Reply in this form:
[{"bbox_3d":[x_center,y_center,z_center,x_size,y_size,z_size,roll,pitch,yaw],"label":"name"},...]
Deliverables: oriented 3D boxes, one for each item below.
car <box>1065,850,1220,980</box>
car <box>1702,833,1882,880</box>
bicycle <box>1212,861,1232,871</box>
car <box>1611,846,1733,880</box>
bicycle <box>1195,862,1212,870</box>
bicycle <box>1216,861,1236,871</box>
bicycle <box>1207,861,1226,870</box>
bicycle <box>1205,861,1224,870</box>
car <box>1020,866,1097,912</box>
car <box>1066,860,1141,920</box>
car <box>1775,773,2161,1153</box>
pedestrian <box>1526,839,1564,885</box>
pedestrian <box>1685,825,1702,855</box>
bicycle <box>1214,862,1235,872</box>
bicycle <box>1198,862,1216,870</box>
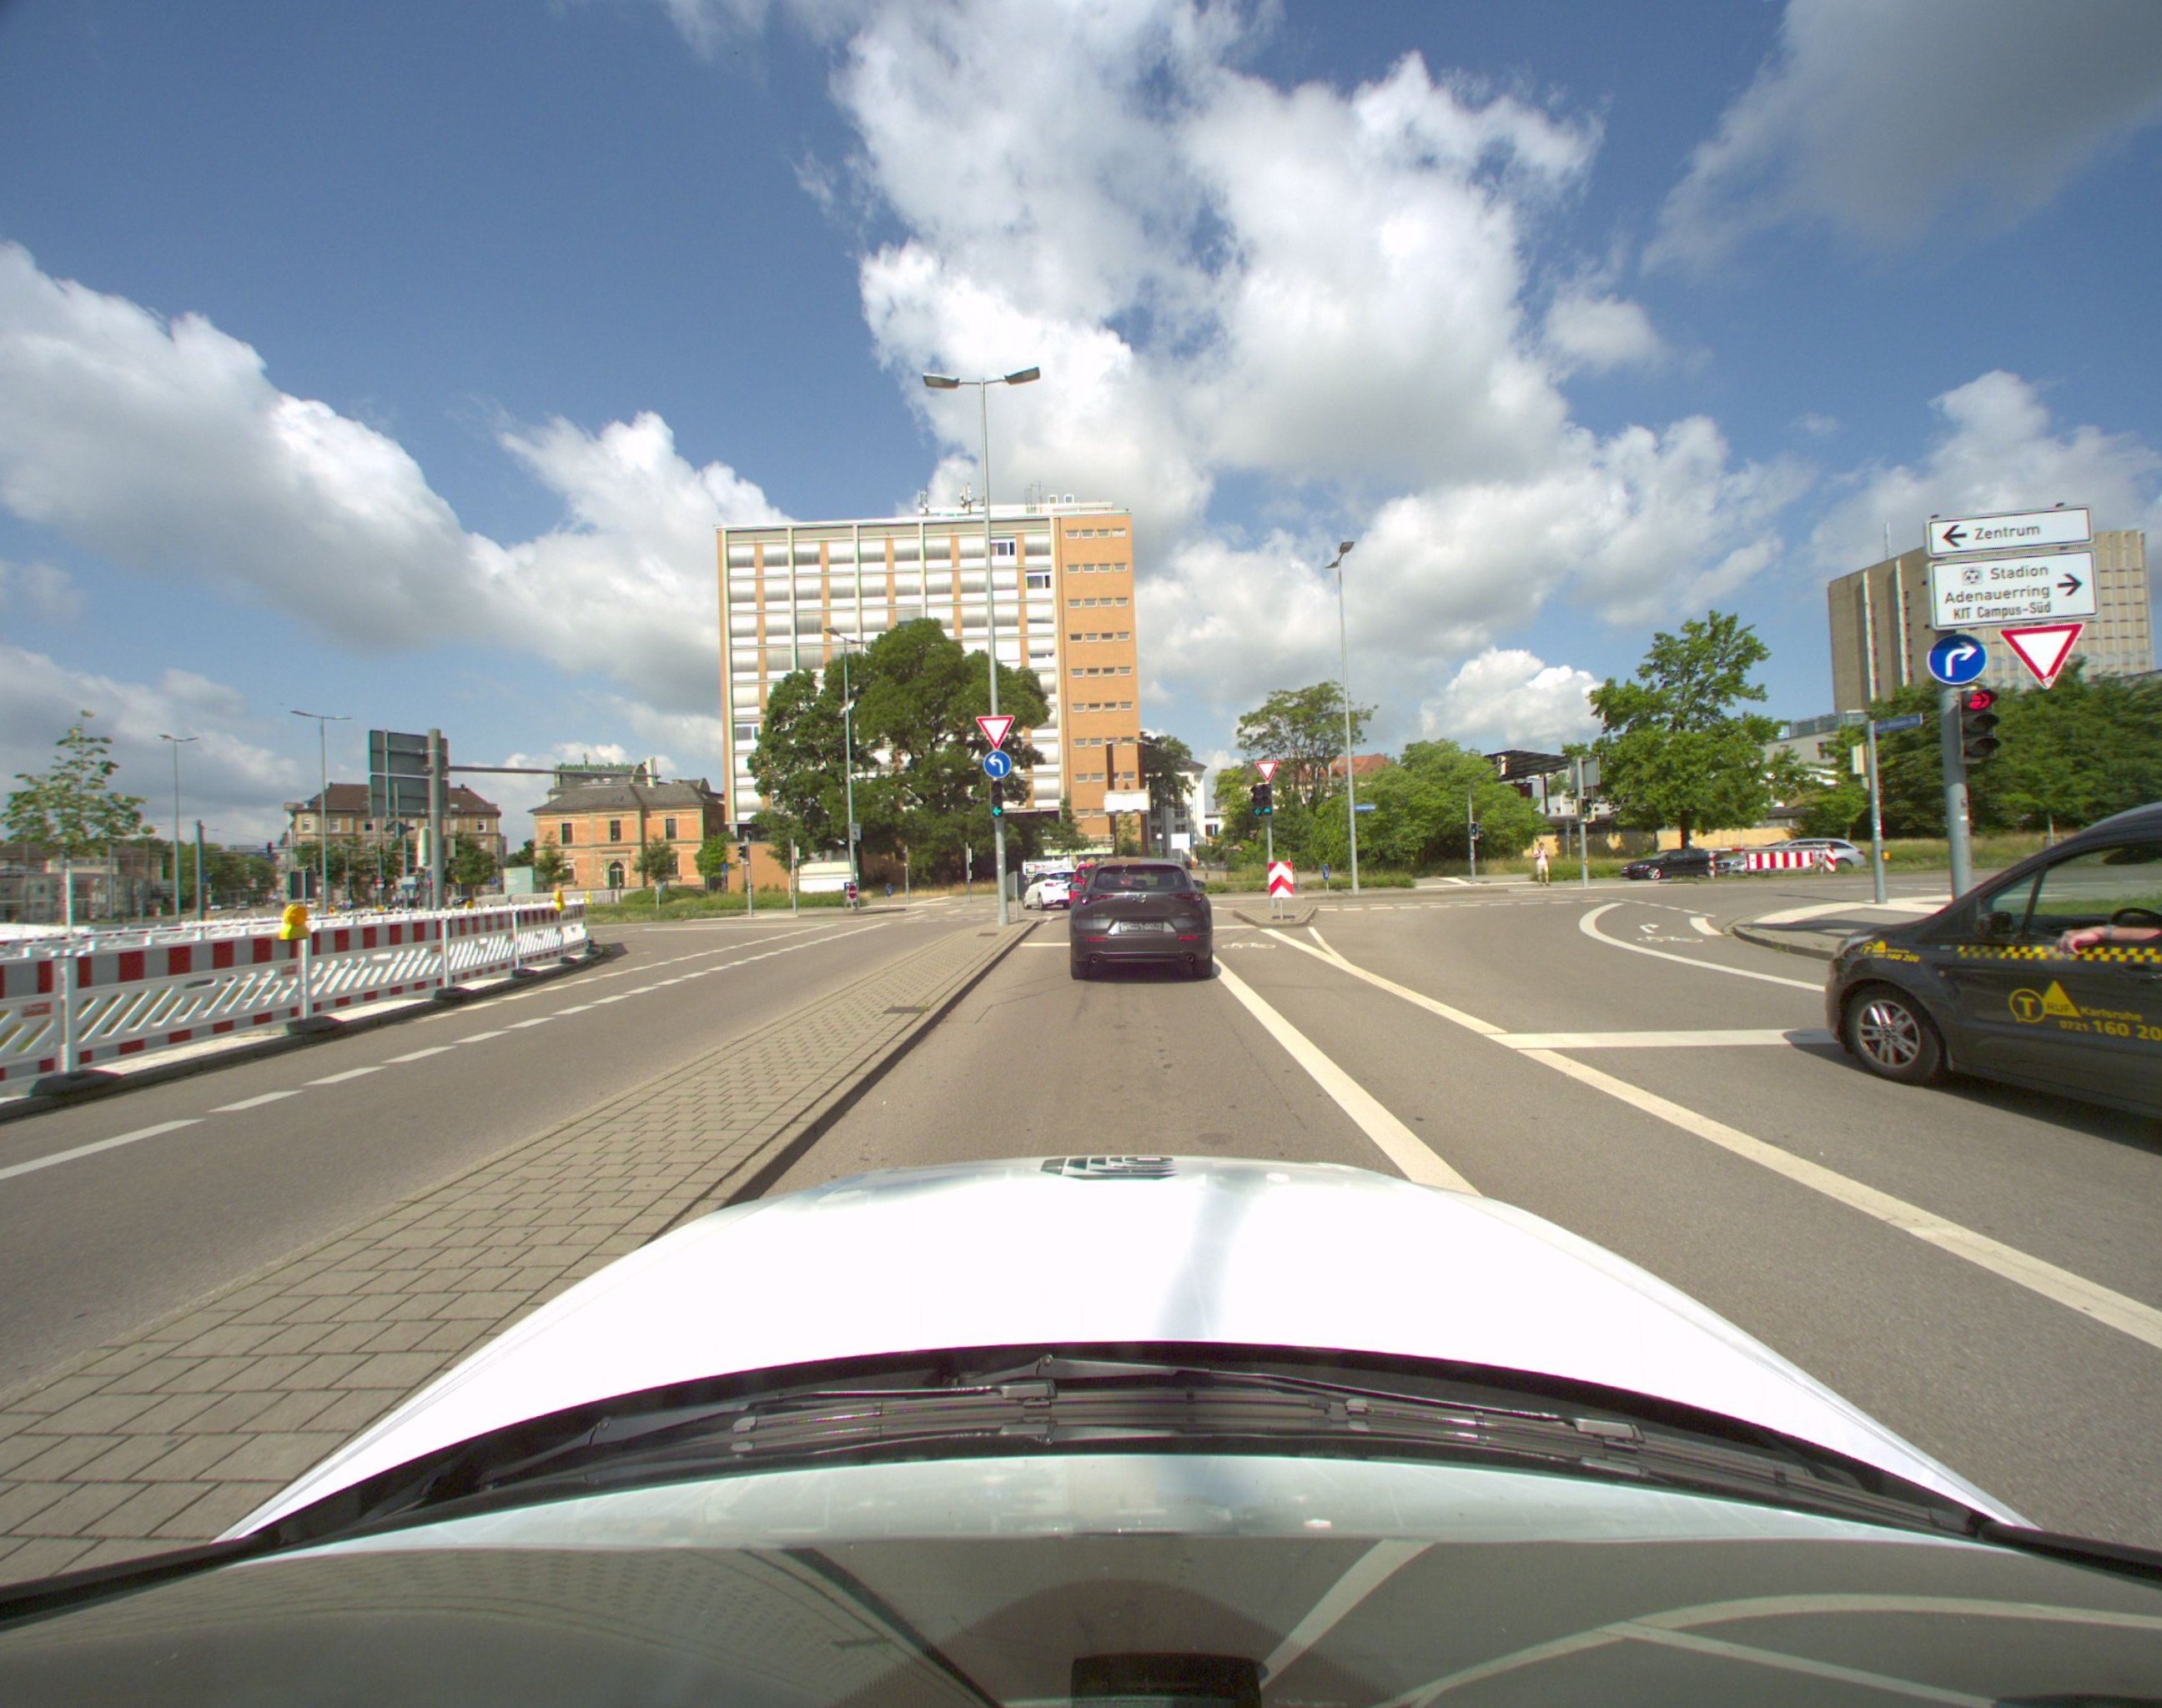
[{"bbox_3d":[0.757,0.718,11.545,1.799,1.508,4.205,0,0,1],"label":"car"},{"bbox_3d":[26.635,0.131,30.684,4.740,1.442,2.065,-3,-3,6],"label":"car"},{"bbox_3d":[15.870,1.359,91.844,2.048,0.936,0.804,-3,-1,0],"label":"bicycle"},{"bbox_3d":[27.344,0.406,37.777,4.129,1.377,2.002,-3,0,3],"label":"car"},{"bbox_3d":[15.728,1.497,104.907,2.048,0.936,0.804,-3,-1,0],"label":"bicycle"},{"bbox_3d":[16.161,1.343,90.522,2.048,0.936,0.804,-3,-1,0],"label":"bicycle"},{"bbox_3d":[15.862,1.396,95.309,2.048,0.936,0.804,-3,-1,0],"label":"bicycle"},{"bbox_3d":[15.814,1.405,96.306,2.048,0.936,0.804,-3,-1,0],"label":"bicycle"},{"bbox_3d":[-0.913,1.248,29.963,1.851,1.472,4.312,-3,-1,-15],"label":"car"},{"bbox_3d":[0.554,0.910,21.935,1.810,1.439,4.066,-1,-1,0],"label":"car"},{"bbox_3d":[5.982,0.493,3.702,1.841,1.785,4.676,-1,0,3],"label":"car"},{"bbox_3d":[19.560,0.353,34.342,0.696,1.857,1.177,-3,-3,-9],"label":"pedestrian"},{"bbox_3d":[33.781,-0.763,44.907,0.521,1.608,0.541,0,-1,-2],"label":"pedestrian"},{"bbox_3d":[15.475,1.415,87.853,2.048,0.936,0.804,-3,-1,0],"label":"bicycle"},{"bbox_3d":[15.505,1.449,100.050,2.048,0.936,0.804,-3,-1,0],"label":"bicycle"}]
